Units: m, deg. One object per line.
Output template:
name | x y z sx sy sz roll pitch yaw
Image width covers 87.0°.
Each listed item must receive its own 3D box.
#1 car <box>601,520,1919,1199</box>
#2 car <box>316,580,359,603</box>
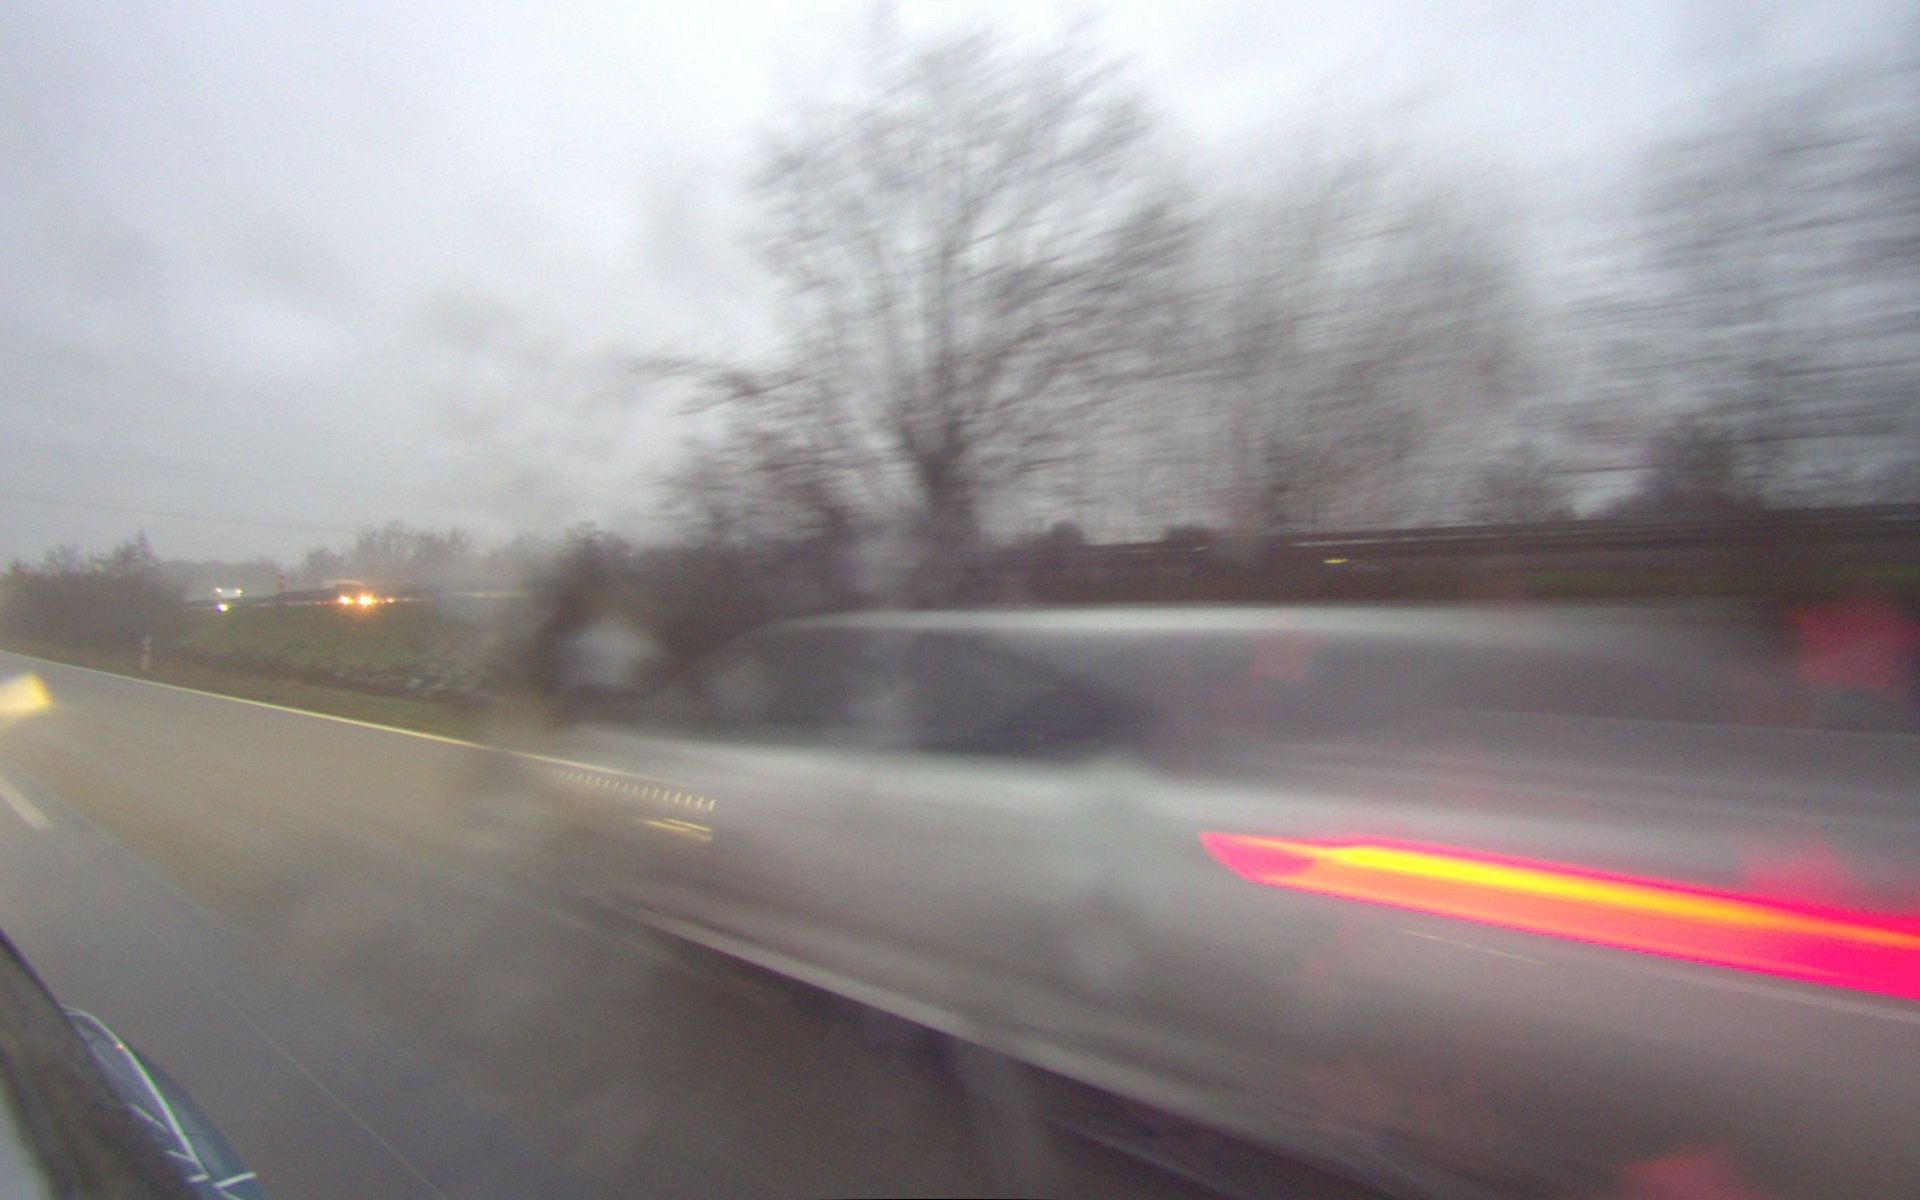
car | 0.708 0.664 3.403 4.411 1.518 1.671 -1 -1 41
car | -48.341 -0.653 78.600 4.108 1.725 1.704 -1 0 41
